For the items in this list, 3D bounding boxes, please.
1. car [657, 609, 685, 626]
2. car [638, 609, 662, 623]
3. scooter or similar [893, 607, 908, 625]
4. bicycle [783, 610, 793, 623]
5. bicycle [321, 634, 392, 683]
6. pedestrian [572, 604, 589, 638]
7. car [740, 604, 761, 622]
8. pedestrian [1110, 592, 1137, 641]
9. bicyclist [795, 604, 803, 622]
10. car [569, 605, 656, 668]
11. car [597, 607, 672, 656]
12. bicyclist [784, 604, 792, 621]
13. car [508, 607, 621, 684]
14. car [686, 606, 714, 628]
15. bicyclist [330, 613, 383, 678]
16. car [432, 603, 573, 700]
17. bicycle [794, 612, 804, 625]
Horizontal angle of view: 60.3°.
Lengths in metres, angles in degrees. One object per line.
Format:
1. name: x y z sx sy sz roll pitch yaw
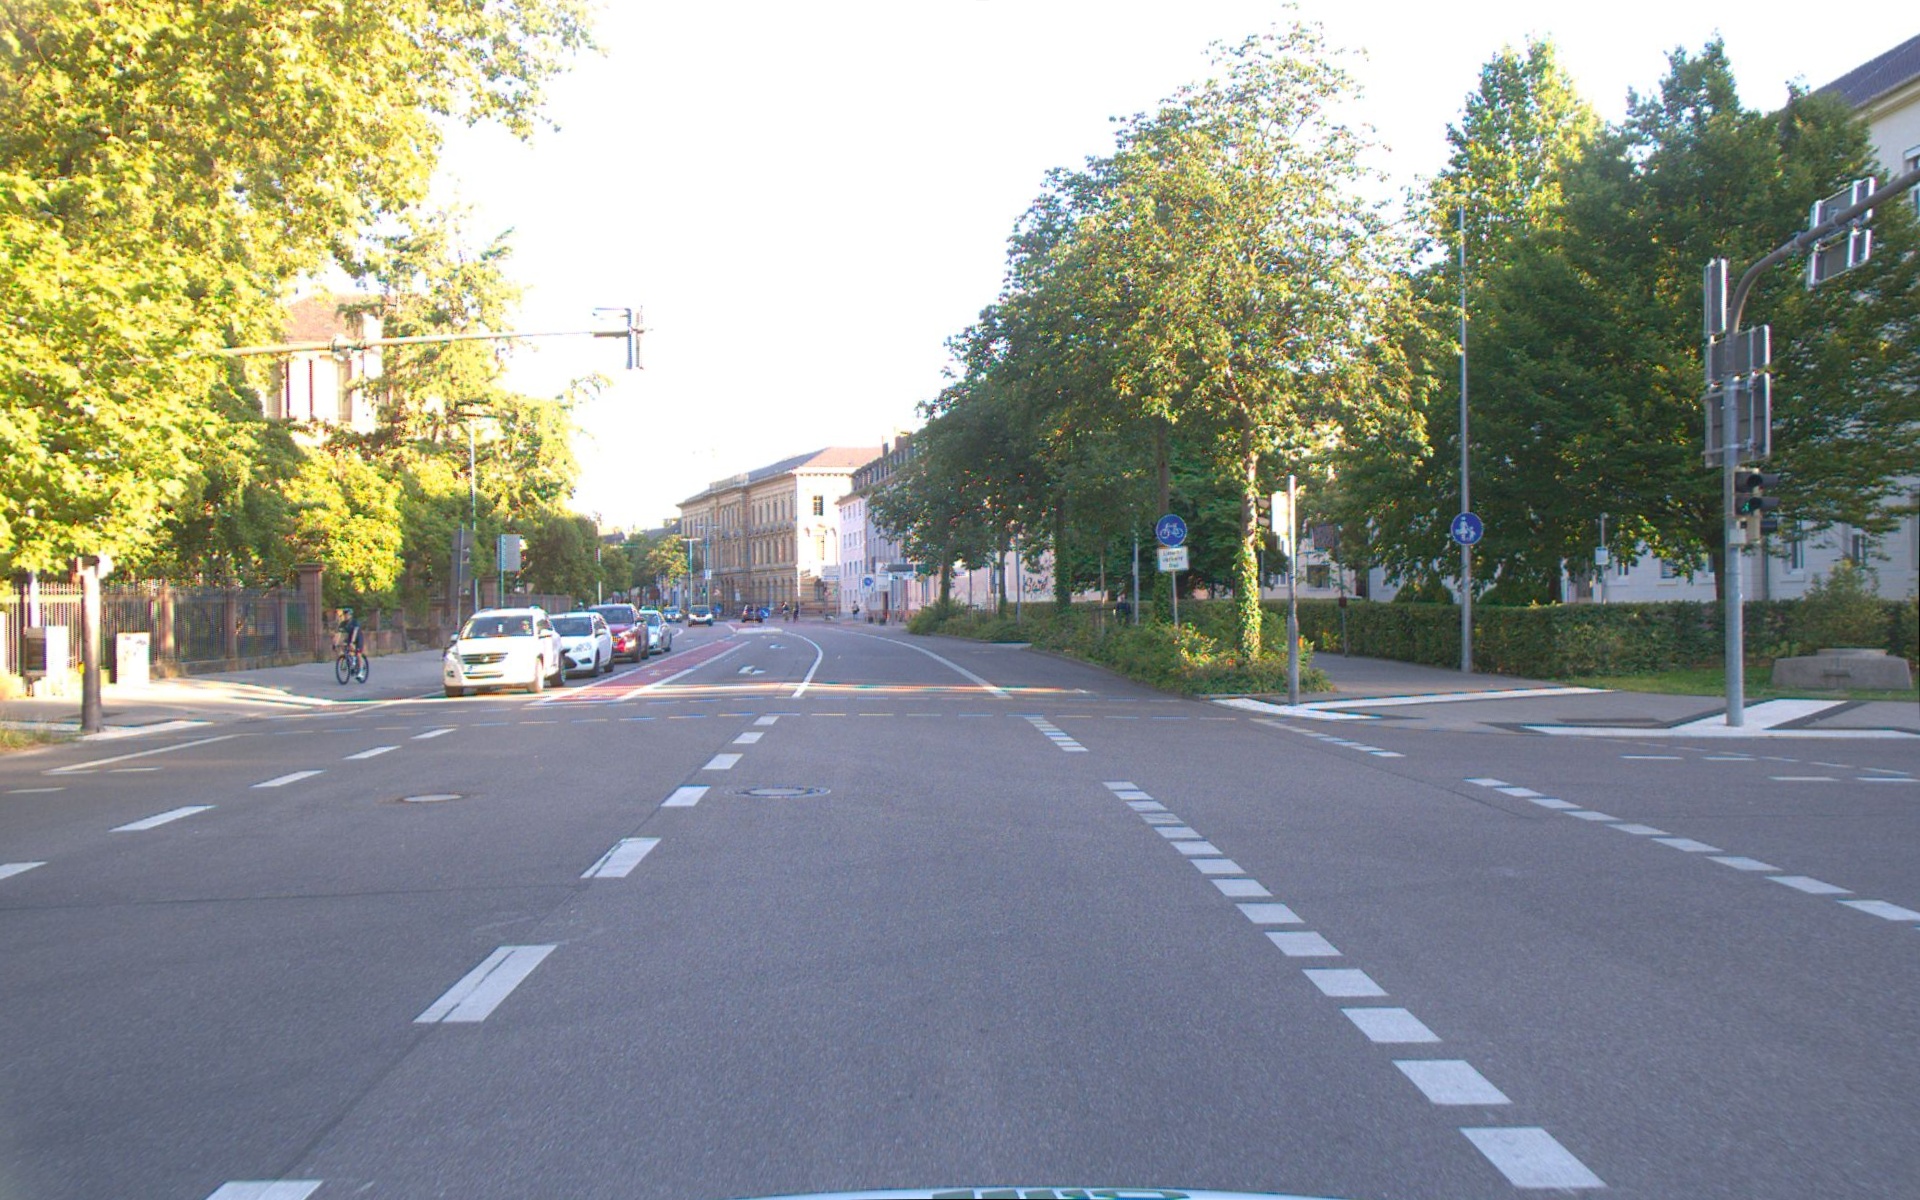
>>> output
1. car: -26.503 1.604 151.672 1.808 1.464 3.977 -3 0 -19
2. car: -36.228 1.898 193.174 1.965 1.613 3.974 0 0 -22
3. scooter or similar: -4.628 1.223 128.411 0.619 1.360 2.391 0 0 -14
4. bicycle: -14.561 1.406 139.997 0.640 1.033 2.193 1 0 -9
5. bicycle: -13.805 1.323 37.874 0.838 1.033 2.197 -1 0 -1
6. pedestrian: -18.637 1.044 81.226 0.667 1.651 0.688 -1 0 -1
7. car: -18.024 1.139 142.225 1.832 1.536 3.993 0 -1 -8
8. pedestrian: 5.950 0.586 60.127 0.756 1.769 0.805 -1 0 -11
9. bicyclist: -13.629 1.105 139.985 0.640 1.501 0.939 1 -1 -9
10. car: -10.086 1.011 48.337 1.879 1.653 4.634 -3 0 -5
11. car: -10.733 1.023 54.803 1.879 1.442 4.765 -3 0 -5
12. bicyclist: -14.545 1.050 139.972 0.640 1.471 0.877 1 -1 -9
13. car: -9.332 1.019 39.418 1.879 1.611 4.669 -3 0 -5
14. car: -19.860 1.277 126.064 1.817 1.553 3.987 -2 0 -13
15. bicyclist: -13.826 1.041 37.910 0.838 1.456 0.943 -1 0 -1
16. car: -9.101 0.966 33.233 1.879 1.725 4.422 -3 0 -5
17. bicycle: -13.632 1.577 139.977 0.640 1.033 2.193 1 0 -9
